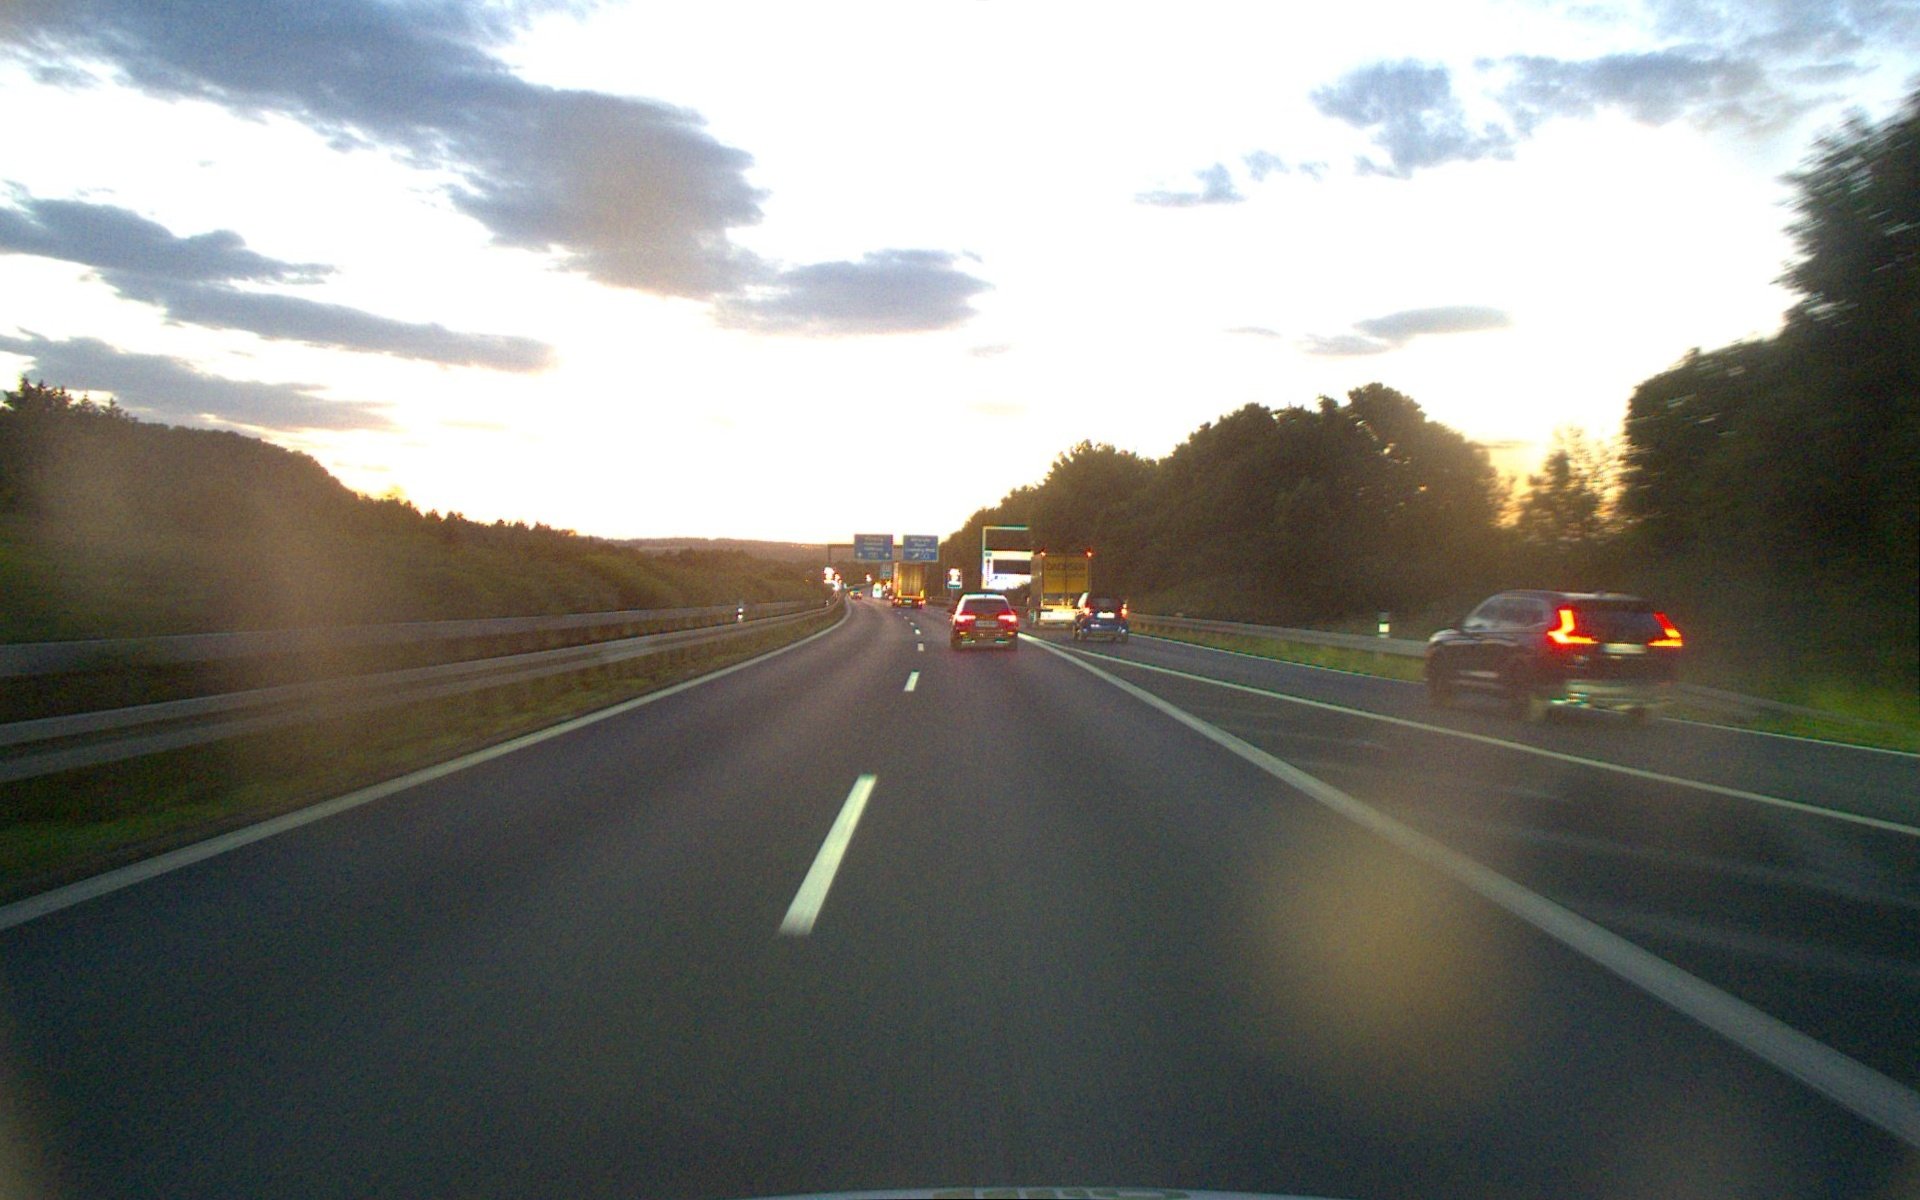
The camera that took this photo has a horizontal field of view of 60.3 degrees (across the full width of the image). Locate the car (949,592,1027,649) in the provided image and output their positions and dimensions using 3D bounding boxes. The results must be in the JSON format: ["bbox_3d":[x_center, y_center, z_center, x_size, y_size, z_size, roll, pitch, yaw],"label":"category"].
[{"bbox_3d":[0.725,0.556,45.372,1.877,1.467,3.998,1,0,-3],"label":"car"}]

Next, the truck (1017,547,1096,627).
[{"bbox_3d":[3.934,-0.532,68.603,2.224,3.023,6.625,3,0,-5],"label":"truck"}]

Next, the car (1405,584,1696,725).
[{"bbox_3d":[7.906,0.667,22.767,1.763,1.674,5.155,2,0,-5],"label":"car"}]

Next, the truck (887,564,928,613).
[{"bbox_3d":[-5.013,-1.022,156.562,3.441,4.376,9.882,1,0,-4],"label":"truck"}]

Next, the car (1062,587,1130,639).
[{"bbox_3d":[4.265,0.405,52.370,1.579,1.583,3.315,1,0,-5],"label":"car"}]
